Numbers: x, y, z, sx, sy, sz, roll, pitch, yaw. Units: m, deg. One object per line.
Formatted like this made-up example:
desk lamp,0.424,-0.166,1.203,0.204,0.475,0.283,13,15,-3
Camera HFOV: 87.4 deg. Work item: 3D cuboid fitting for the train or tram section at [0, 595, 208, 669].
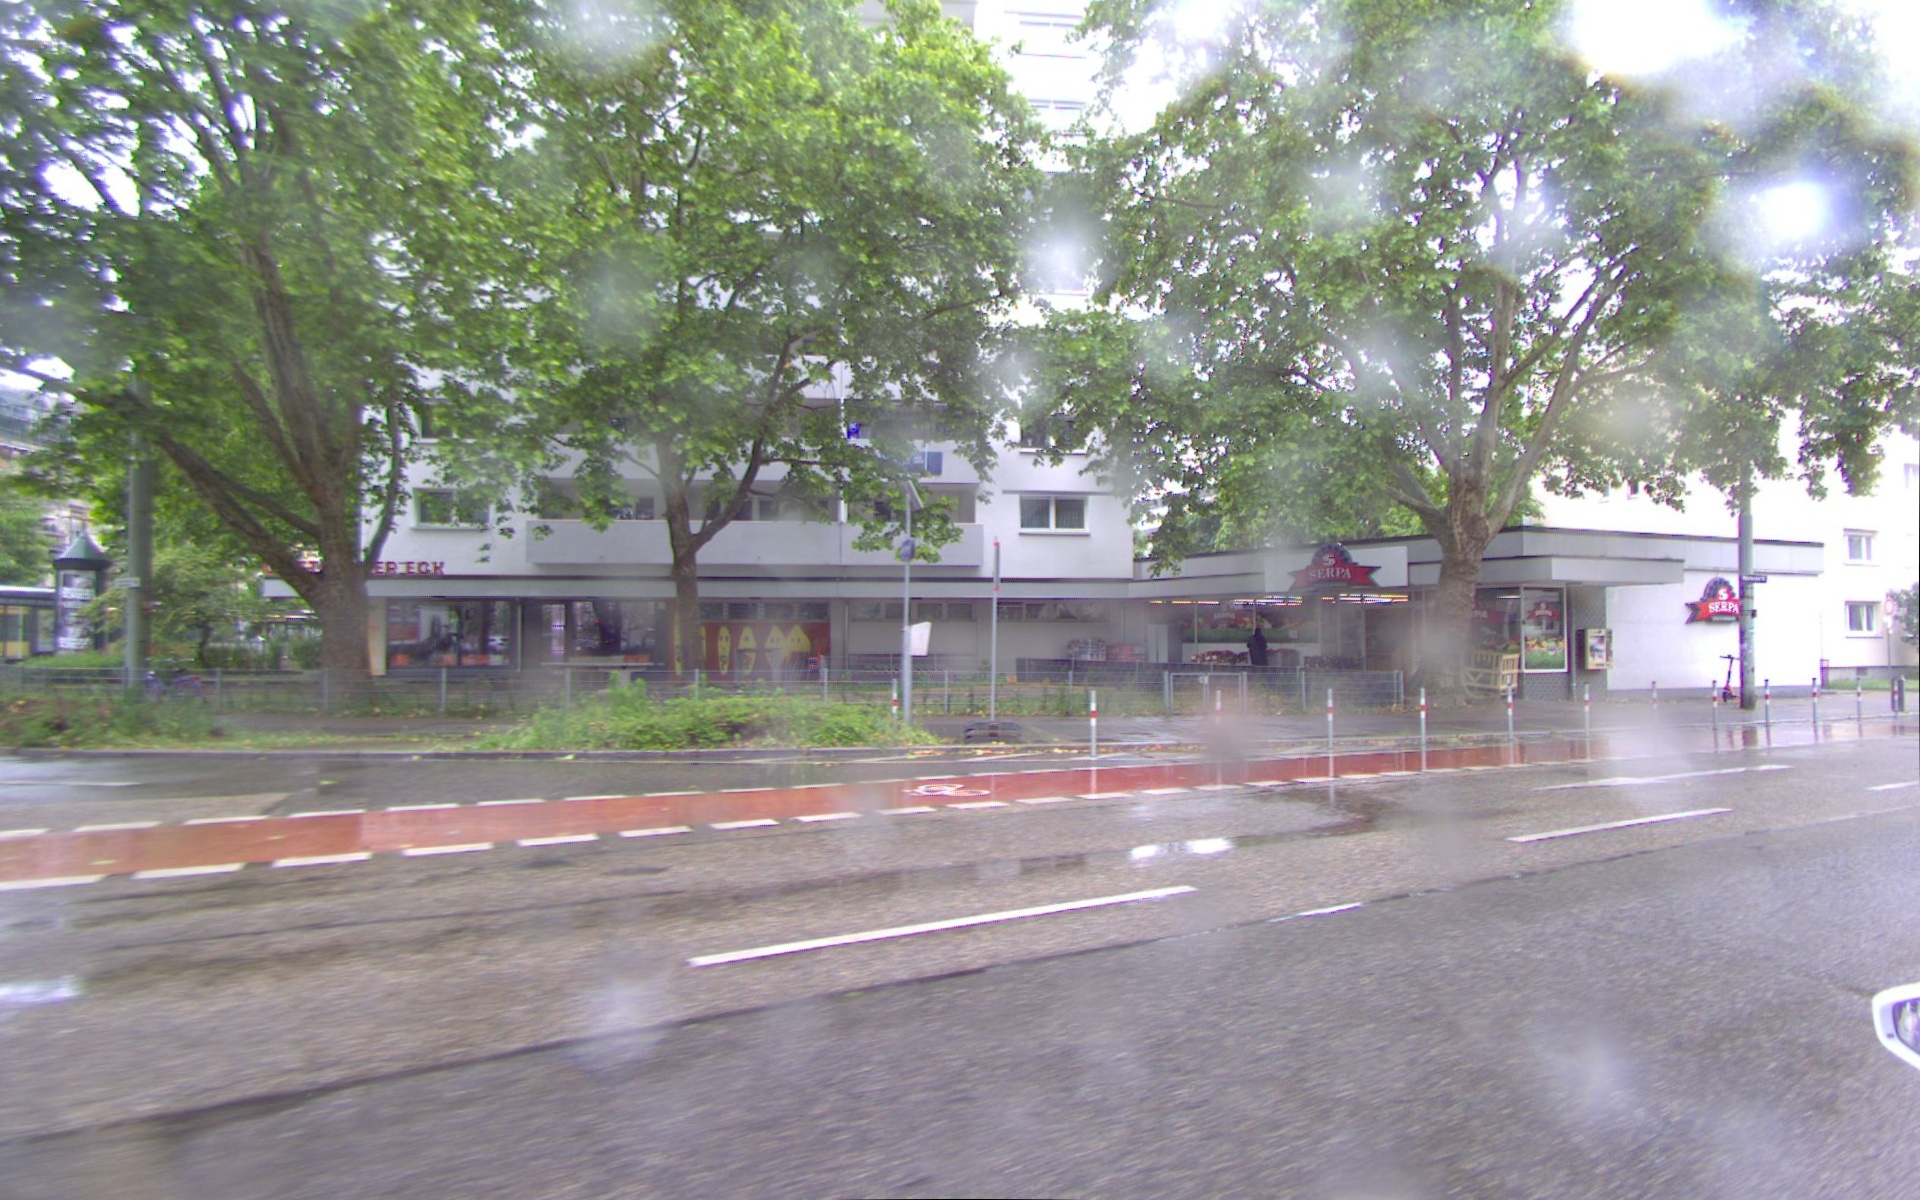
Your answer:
train or tram section,-45.777,1.809,53.837,3.014,3.549,11.572,0,-3,-5

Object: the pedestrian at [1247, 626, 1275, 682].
pedestrian,8.960,1.604,29.895,0.637,1.650,0.564,2,-3,-44

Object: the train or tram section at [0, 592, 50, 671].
train or tram section,-44.786,1.278,42.341,3.014,3.549,11.572,0,-3,-5

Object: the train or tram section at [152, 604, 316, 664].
train or tram section,-46.780,2.301,65.374,3.014,3.549,11.572,0,-3,-5

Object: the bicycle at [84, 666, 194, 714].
bicycle,-16.938,1.837,20.716,2.271,0.880,0.639,1,-1,19

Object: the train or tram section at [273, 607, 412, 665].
train or tram section,-40.938,2.482,67.257,3.014,3.549,11.572,0,-3,-5

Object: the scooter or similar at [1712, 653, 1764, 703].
scooter or similar,20.394,2.032,26.320,1.355,1.282,0.437,1,-3,-23
